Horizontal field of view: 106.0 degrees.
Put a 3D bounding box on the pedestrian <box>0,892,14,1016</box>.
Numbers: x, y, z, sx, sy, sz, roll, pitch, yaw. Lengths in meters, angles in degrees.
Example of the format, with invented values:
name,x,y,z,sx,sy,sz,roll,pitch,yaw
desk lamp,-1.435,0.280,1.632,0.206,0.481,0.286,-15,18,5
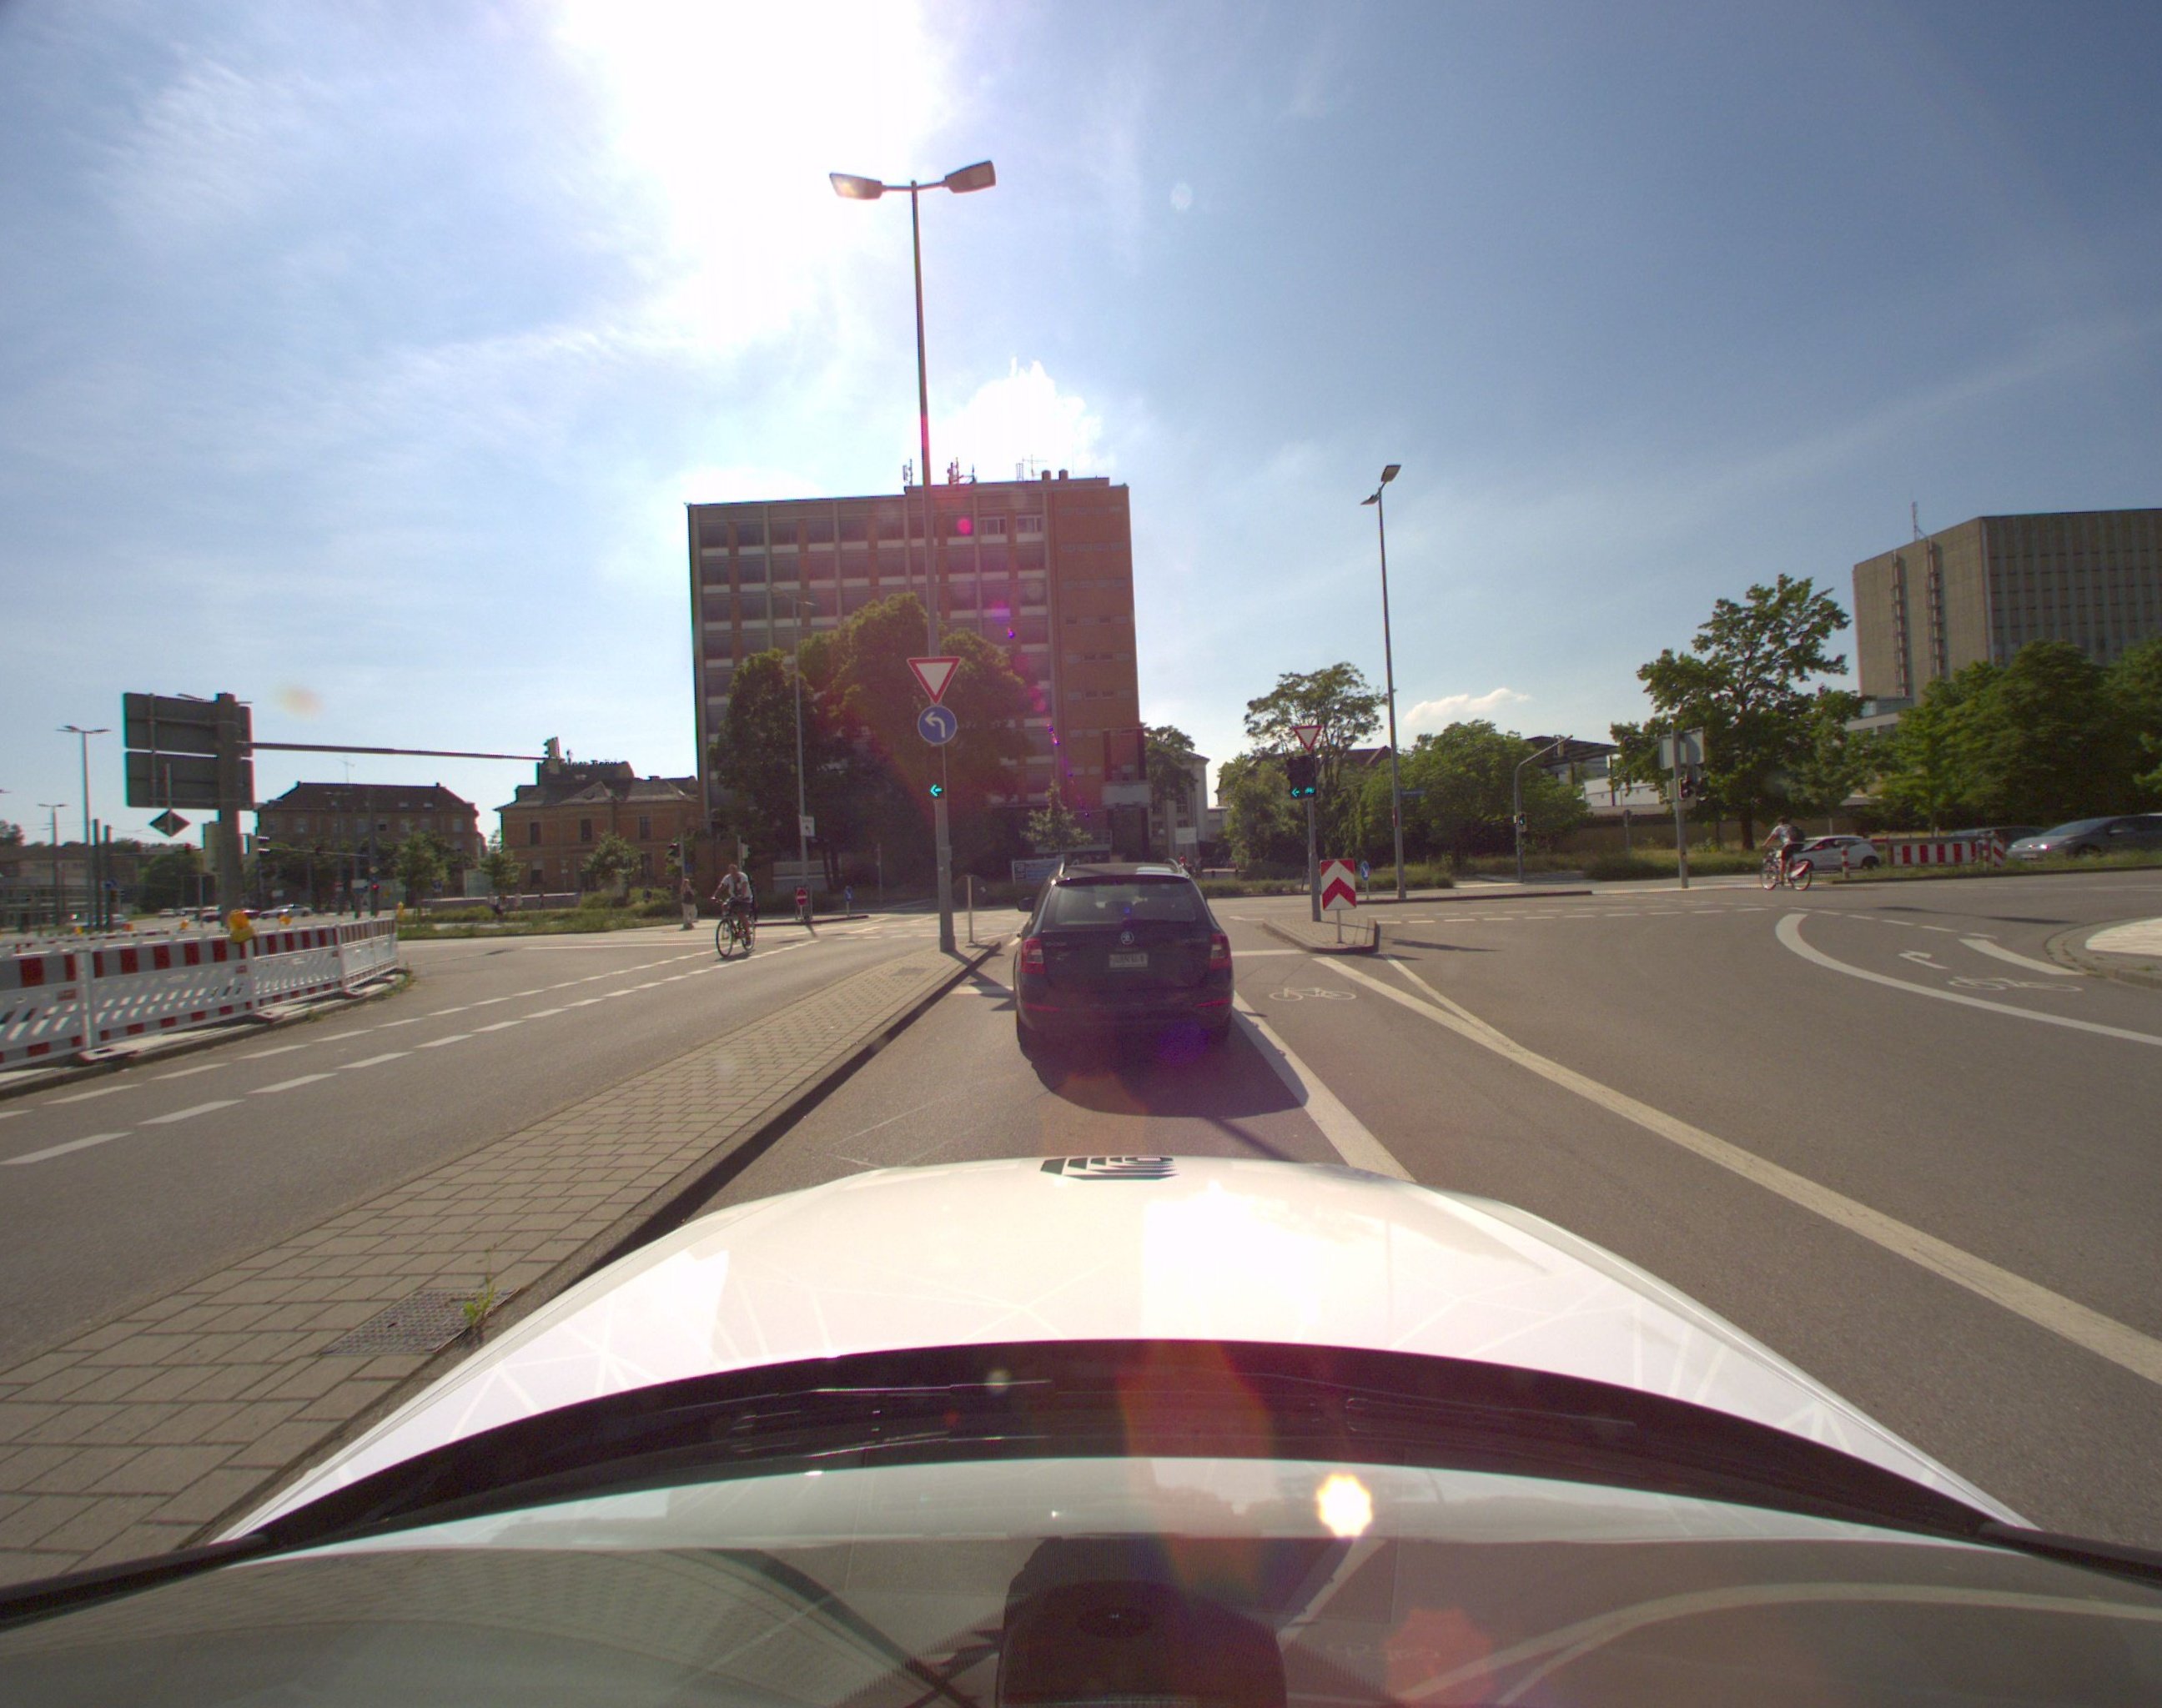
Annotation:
name,x,y,z,sx,sy,sz,roll,pitch,yaw
pedestrian,-17.024,1.562,12.525,0.436,1.915,0.609,-3,-1,22

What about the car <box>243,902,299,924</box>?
name,x,y,z,sx,sy,sz,roll,pitch,yaw
car,-88.418,6.408,88.989,1.986,2.013,4.001,-3,-1,2

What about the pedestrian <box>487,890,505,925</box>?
name,x,y,z,sx,sy,sz,roll,pitch,yaw
pedestrian,-34.943,3.200,48.638,0.624,2.013,0.522,-3,-1,-3

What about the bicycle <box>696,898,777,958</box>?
name,x,y,z,sx,sy,sz,roll,pitch,yaw
bicycle,-6.751,1.422,16.077,0.702,0.977,2.030,-3,-1,0

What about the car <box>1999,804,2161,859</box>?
name,x,y,z,sx,sy,sz,roll,pitch,yaw
car,30.550,-0.685,24.310,4.074,1.406,1.642,-3,-2,7

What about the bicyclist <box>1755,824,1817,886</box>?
name,x,y,z,sx,sy,sz,roll,pitch,yaw
bicyclist,17.395,0.032,20.125,0.493,1.470,1.142,-1,-2,-1

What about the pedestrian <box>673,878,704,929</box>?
name,x,y,z,sx,sy,sz,roll,pitch,yaw
pedestrian,-14.184,1.786,29.442,0.737,1.752,1.105,-3,-3,-14

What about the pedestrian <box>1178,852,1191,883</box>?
name,x,y,z,sx,sy,sz,roll,pitch,yaw
pedestrian,6.435,0.855,50.632,0.591,1.874,0.642,-3,-1,25

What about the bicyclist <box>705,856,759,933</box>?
name,x,y,z,sx,sy,sz,roll,pitch,yaw
bicyclist,-6.799,0.777,15.907,0.537,1.417,1.030,-4,-2,0

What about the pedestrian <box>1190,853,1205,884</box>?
name,x,y,z,sx,sy,sz,roll,pitch,yaw
pedestrian,7.090,0.871,49.553,0.634,1.874,0.797,-4,0,1

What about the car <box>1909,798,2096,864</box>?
name,x,y,z,sx,sy,sz,roll,pitch,yaw
car,32.425,-0.771,28.773,3.966,2.014,2.004,-3,-2,7

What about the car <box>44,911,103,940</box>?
name,x,y,z,sx,sy,sz,roll,pitch,yaw
car,-80.564,5.655,65.190,2.009,2.013,3.955,-3,-1,-37

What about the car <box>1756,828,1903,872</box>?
name,x,y,z,sx,sy,sz,roll,pitch,yaw
car,29.784,-0.138,32.509,3.972,1.464,2.000,-3,-2,1

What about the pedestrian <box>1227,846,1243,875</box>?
name,x,y,z,sx,sy,sz,roll,pitch,yaw
pedestrian,10.471,0.417,55.291,0.786,1.874,0.643,-4,0,26

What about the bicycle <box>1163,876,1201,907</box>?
name,x,y,z,sx,sy,sz,roll,pitch,yaw
bicycle,3.188,1.170,25.839,0.596,0.931,2.020,-1,-1,-11

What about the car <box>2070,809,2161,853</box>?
name,x,y,z,sx,sy,sz,roll,pitch,yaw
car,41.781,-0.938,31.635,4.294,1.569,1.911,-3,0,1

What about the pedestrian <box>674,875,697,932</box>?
name,x,y,z,sx,sy,sz,roll,pitch,yaw
pedestrian,-14.234,1.768,29.299,0.618,2.014,0.679,0,-2,-36

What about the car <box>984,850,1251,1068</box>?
name,x,y,z,sx,sy,sz,roll,pitch,yaw
car,0.320,0.719,7.396,1.773,1.443,3.820,-1,0,2

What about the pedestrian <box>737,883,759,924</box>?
name,x,y,z,sx,sy,sz,roll,pitch,yaw
pedestrian,-12.495,1.855,30.576,0.632,1.491,0.614,-3,-1,-15

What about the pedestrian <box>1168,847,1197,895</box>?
name,x,y,z,sx,sy,sz,roll,pitch,yaw
pedestrian,3.194,0.538,25.678,0.583,1.466,1.010,-1,-1,-11

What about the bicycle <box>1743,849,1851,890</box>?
name,x,y,z,sx,sy,sz,roll,pitch,yaw
bicycle,17.454,0.359,19.940,0.670,0.916,2.168,-3,0,-1
